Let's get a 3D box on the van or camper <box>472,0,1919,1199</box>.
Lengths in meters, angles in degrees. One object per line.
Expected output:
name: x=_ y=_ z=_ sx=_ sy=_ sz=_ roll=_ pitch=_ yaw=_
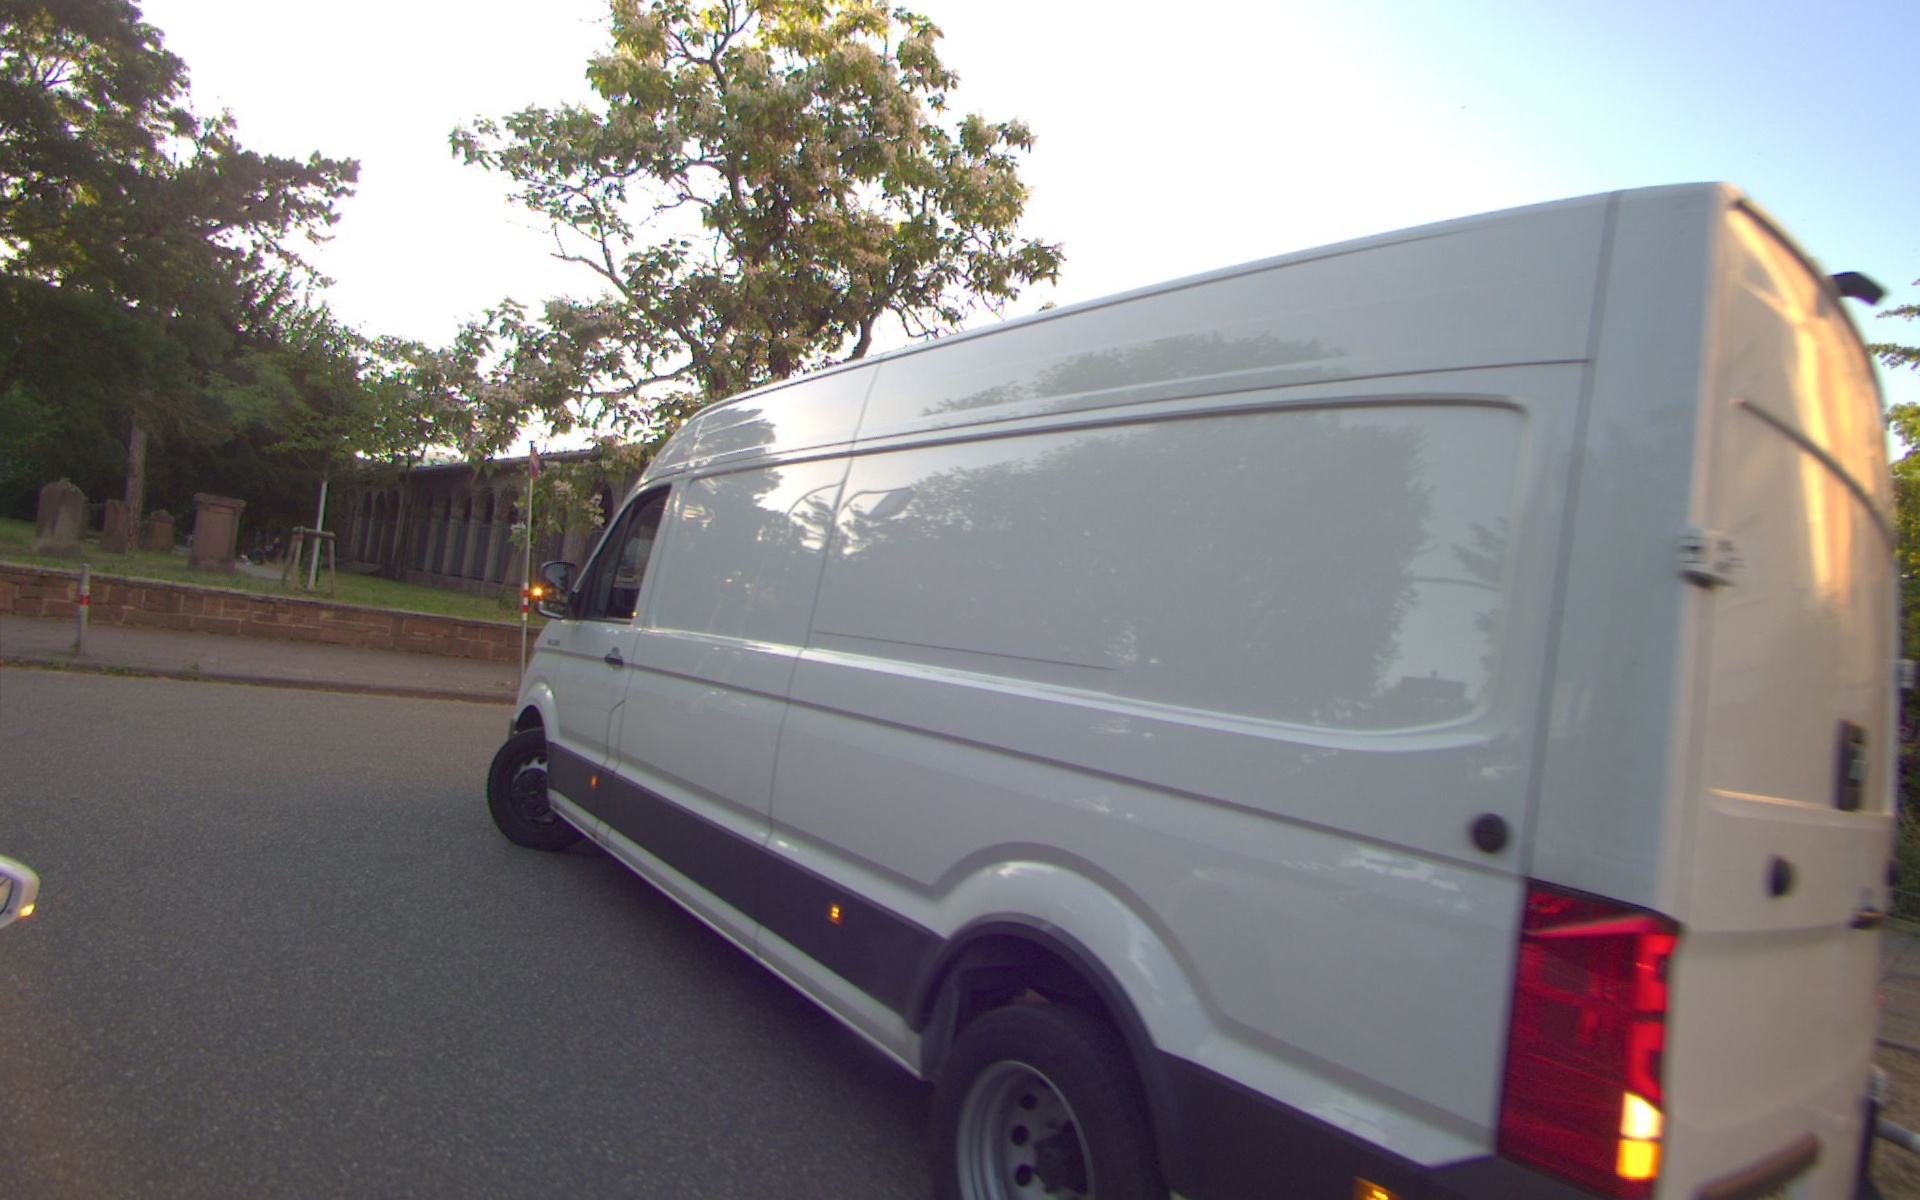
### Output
van or camper: x=-0.172 y=0.434 z=4.455 sx=1.986 sy=2.646 sz=6.338 roll=11 pitch=-4 yaw=-38

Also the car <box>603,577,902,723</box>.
car: x=-3.055 y=0.800 z=15.261 sx=3.847 sy=1.591 sz=1.934 roll=11 pitch=-3 yaw=-43

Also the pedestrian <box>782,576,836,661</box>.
pedestrian: x=-2.719 y=0.332 z=18.106 sx=0.541 sy=1.437 sz=0.633 roll=8 pitch=-1 yaw=-37

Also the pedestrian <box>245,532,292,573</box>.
pedestrian: x=-28.575 y=-1.944 z=41.565 sx=1.324 sy=1.461 sz=1.034 roll=9 pitch=-2 yaw=-42

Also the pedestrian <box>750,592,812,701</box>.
pedestrian: x=-3.195 y=0.832 z=17.941 sx=0.591 sy=1.828 sz=0.614 roll=10 pitch=-2 yaw=-40
